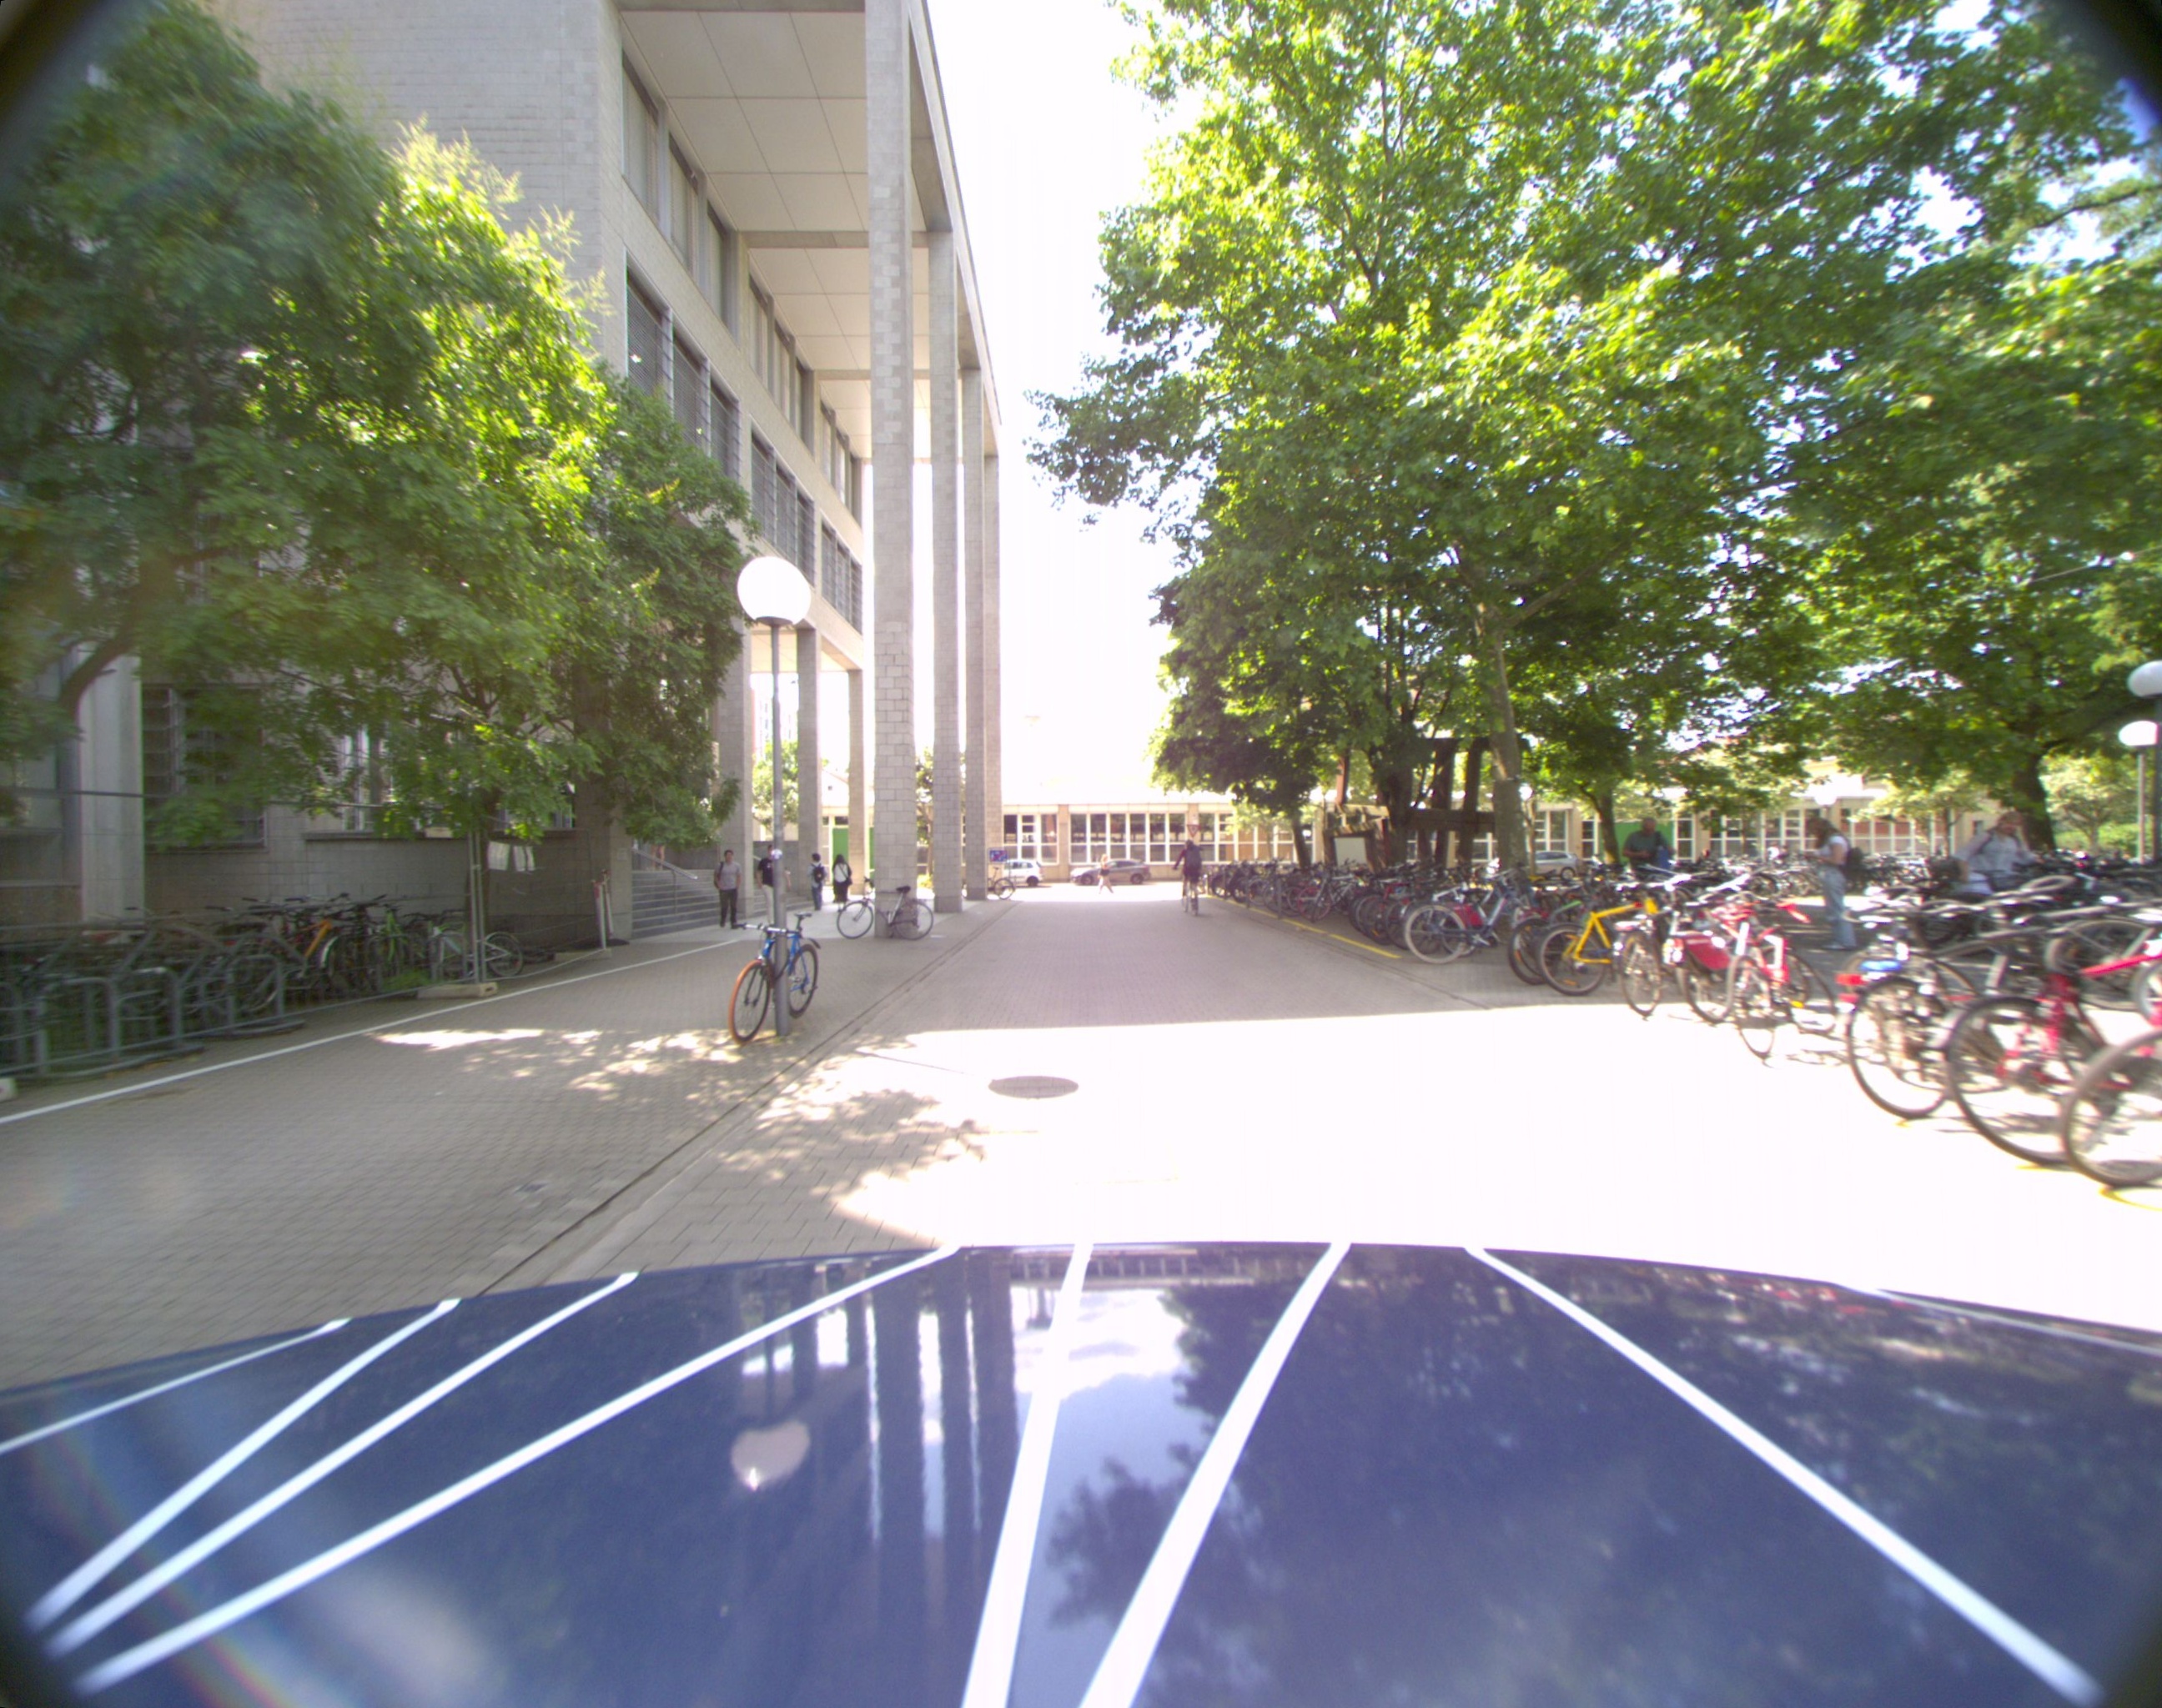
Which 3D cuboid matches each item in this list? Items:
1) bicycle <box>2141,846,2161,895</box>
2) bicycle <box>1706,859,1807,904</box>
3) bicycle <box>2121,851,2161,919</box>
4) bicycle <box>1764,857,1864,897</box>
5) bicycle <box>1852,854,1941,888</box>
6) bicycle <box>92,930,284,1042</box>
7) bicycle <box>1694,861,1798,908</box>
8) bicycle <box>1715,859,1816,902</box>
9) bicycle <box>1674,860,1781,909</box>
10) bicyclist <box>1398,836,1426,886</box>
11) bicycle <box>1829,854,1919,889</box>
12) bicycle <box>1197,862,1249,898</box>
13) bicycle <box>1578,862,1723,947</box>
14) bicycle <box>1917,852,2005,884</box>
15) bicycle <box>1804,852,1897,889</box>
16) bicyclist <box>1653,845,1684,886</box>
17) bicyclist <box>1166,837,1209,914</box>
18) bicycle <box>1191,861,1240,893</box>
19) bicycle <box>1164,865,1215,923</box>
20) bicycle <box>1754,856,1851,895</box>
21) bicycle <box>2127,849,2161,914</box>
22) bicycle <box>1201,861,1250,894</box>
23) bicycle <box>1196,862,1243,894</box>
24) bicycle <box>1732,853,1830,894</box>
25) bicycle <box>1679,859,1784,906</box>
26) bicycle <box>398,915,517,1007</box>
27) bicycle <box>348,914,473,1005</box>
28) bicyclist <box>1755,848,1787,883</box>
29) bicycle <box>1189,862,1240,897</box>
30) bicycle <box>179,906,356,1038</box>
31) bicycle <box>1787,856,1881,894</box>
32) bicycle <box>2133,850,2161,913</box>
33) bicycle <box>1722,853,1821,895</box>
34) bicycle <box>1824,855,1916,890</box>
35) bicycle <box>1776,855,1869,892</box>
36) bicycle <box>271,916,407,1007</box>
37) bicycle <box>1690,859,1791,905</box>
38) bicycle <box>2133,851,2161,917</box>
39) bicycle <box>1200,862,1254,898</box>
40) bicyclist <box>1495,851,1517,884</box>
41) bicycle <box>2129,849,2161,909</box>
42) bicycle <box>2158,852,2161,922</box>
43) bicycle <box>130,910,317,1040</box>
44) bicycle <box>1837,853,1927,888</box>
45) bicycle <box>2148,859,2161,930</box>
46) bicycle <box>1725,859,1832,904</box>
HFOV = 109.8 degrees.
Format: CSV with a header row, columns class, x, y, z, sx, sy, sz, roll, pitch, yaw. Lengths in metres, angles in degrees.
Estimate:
class,x,y,z,sx,sy,sz,roll,pitch,yaw
bicycle,24.619,0.358,16.577,0.475,1.077,1.696,-3,1,-29
bicycle,17.688,0.701,19.949,0.503,1.101,1.902,-3,1,-30
bicycle,17.831,0.487,11.964,0.475,1.077,1.695,-3,1,-39
bicycle,21.261,0.655,22.081,0.503,1.101,2.025,-3,1,-33
bicycle,27.846,0.553,25.983,0.503,1.101,2.026,-2,1,-27
bicycle,-8.984,1.286,7.725,0.291,0.882,1.447,-1,0,-3
bicycle,16.755,0.749,19.198,0.503,1.101,1.902,-3,1,-30
bicycle,18.932,0.707,21.064,0.503,1.101,2.001,-3,1,-30
bicycle,15.723,0.719,18.537,0.503,1.101,1.902,-3,1,-33
bicyclist,13.362,0.273,30.707,0.866,1.882,0.805,-3,5,12
bicycle,26.369,0.554,25.309,0.503,1.101,2.026,-2,1,-27
bicycle,4.690,0.848,25.095,1.628,1.102,0.497,-2,1,5
bicycle,8.733,0.741,11.709,0.577,1.193,1.695,-3,1,-39
bicycle,31.560,0.485,27.297,0.503,1.101,2.027,-2,1,-19
bicycle,24.633,0.509,24.357,0.503,1.101,2.026,-2,1,-27
bicyclist,27.861,0.549,36.038,0.969,1.877,0.674,-4,3,-8
bicyclist,2.450,0.471,17.535,0.773,1.706,0.910,-2,2,-3
bicycle,4.757,0.826,26.917,1.628,1.101,0.497,-1,-1,0
bicycle,2.468,0.887,17.546,0.773,1.144,2.107,-2,2,-2
bicycle,21.505,0.628,22.682,0.503,1.101,2.025,-3,1,-33
bicycle,18.882,0.461,12.650,0.475,1.077,1.695,-3,1,-39
bicycle,4.971,0.821,26.139,1.627,1.101,0.497,-1,-1,12
bicycle,5.060,0.881,27.811,1.628,1.101,0.497,-1,-1,0
bicycle,20.050,0.545,21.826,0.503,1.101,2.001,-3,1,-30
bicycle,16.136,0.687,18.898,0.503,1.101,1.902,-3,1,-33
bicycle,-7.440,1.242,9.135,0.291,0.900,1.447,-1,0,-3
bicycle,-8.130,1.246,9.281,0.291,0.900,1.447,-1,0,-3
bicyclist,31.972,0.533,35.218,0.874,1.565,0.640,-1,2,-4
bicycle,4.489,0.852,25.666,1.628,1.102,0.497,-2,1,5
bicycle,-8.244,1.148,7.783,0.291,1.122,1.447,-1,0,-3
bicycle,23.565,0.634,23.833,0.503,1.101,2.026,-2,1,-27
bicycle,19.253,0.460,12.839,0.475,1.077,1.695,-3,1,-39
bicycle,19.528,0.547,21.535,0.503,1.101,2.001,-3,1,-30
bicycle,25.707,0.583,24.792,0.503,1.101,2.026,-2,1,-27
bicycle,23.044,0.585,23.660,0.503,1.101,2.026,-2,1,-27
bicycle,-9.001,1.271,9.288,0.291,0.900,1.447,-1,0,-3
bicycle,17.079,0.698,19.719,0.503,1.101,1.902,-3,1,-30
bicycle,18.335,0.481,12.183,0.475,1.077,1.695,-3,1,-39
bicycle,4.690,0.836,24.532,1.628,1.102,0.629,-2,1,4
bicyclist,19.989,0.644,35.750,0.727,1.526,0.605,-1,3,2
bicycle,20.112,0.447,13.516,0.475,1.077,1.695,-3,1,-39
bicycle,17.526,0.501,11.306,0.475,1.077,1.695,-3,1,-39
bicycle,-8.636,1.169,7.732,0.291,1.088,1.447,-1,0,-3
bicycle,26.933,0.536,25.596,0.503,1.101,2.026,-2,1,-27
bicycle,15.487,0.547,9.944,0.453,0.956,1.735,-3,1,-39
bicycle,18.298,0.687,19.978,0.503,1.101,2.001,-3,1,-30
